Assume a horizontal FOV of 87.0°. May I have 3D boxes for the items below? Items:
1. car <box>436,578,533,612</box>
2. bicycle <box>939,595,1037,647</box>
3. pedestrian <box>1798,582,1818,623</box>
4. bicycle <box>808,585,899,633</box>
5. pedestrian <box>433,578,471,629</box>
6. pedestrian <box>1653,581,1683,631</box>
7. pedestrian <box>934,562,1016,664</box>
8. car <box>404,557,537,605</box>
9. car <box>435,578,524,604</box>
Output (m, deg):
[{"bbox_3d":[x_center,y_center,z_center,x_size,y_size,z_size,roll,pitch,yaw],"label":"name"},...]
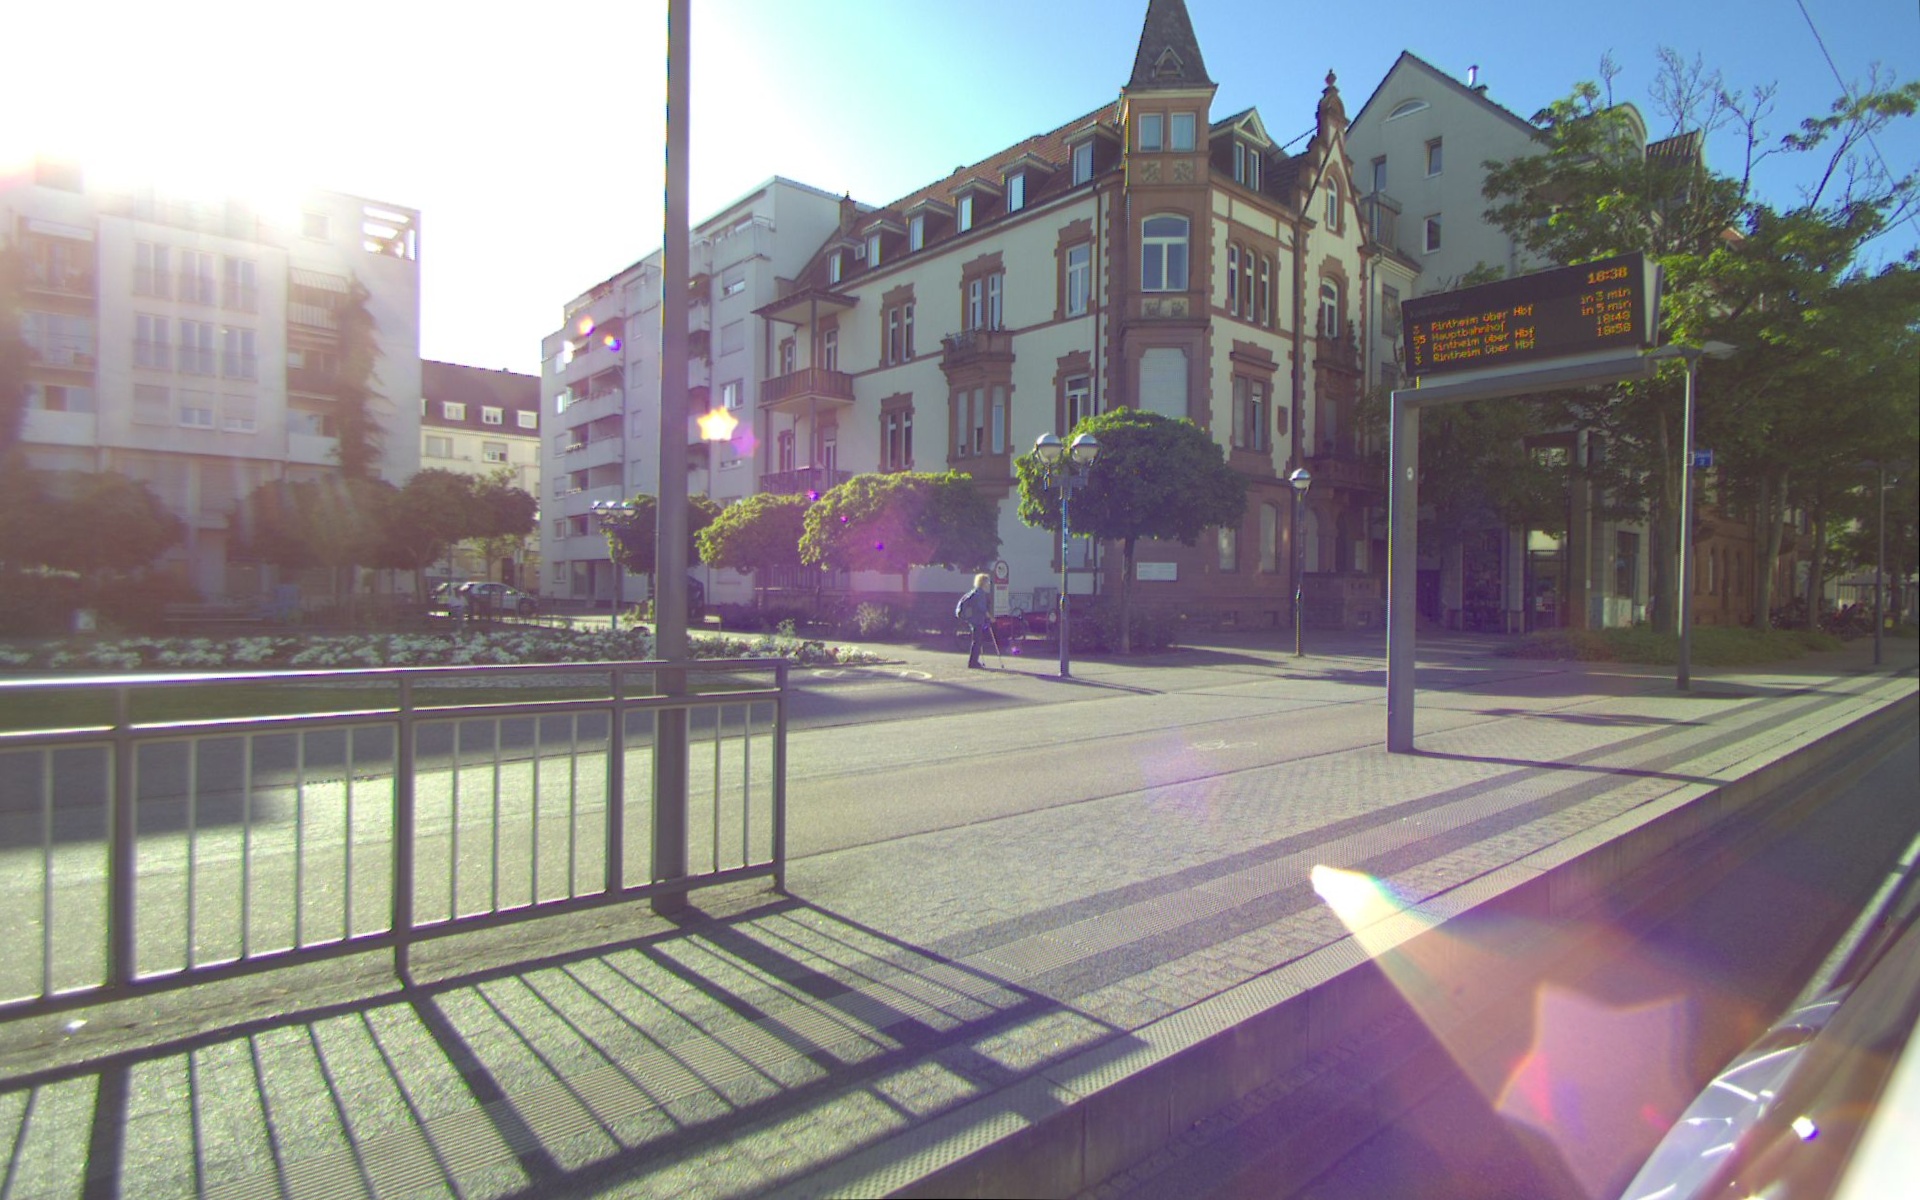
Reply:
[{"bbox_3d":[-22.513,-0.260,47.955,3.923,1.536,2.001,0,1,-34],"label":"car"},{"bbox_3d":[0.702,0.461,24.147,0.786,1.081,2.767,1,2,40],"label":"bicycle"},{"bbox_3d":[42.945,0.120,51.241,0.549,2.039,0.654,0,0,-38],"label":"pedestrian"},{"bbox_3d":[-3.229,0.259,30.923,2.864,1.389,0.745,0,1,-41],"label":"bicycle"},{"bbox_3d":[-14.735,0.078,29.336,0.917,1.429,1.529,0,1,-30],"label":"pedestrian"},{"bbox_3d":[25.256,0.212,36.105,0.740,1.757,0.864,1,0,43],"label":"pedestrian"},{"bbox_3d":[0.264,0.205,17.486,1.064,1.689,0.944,1,0,37],"label":"pedestrian"},{"bbox_3d":[-27.843,-1.073,57.696,6.292,2.587,2.807,0,1,-45],"label":"car"},{"bbox_3d":[-24.873,-0.464,52.411,3.923,1.304,2.001,0,1,-34],"label":"car"}]
